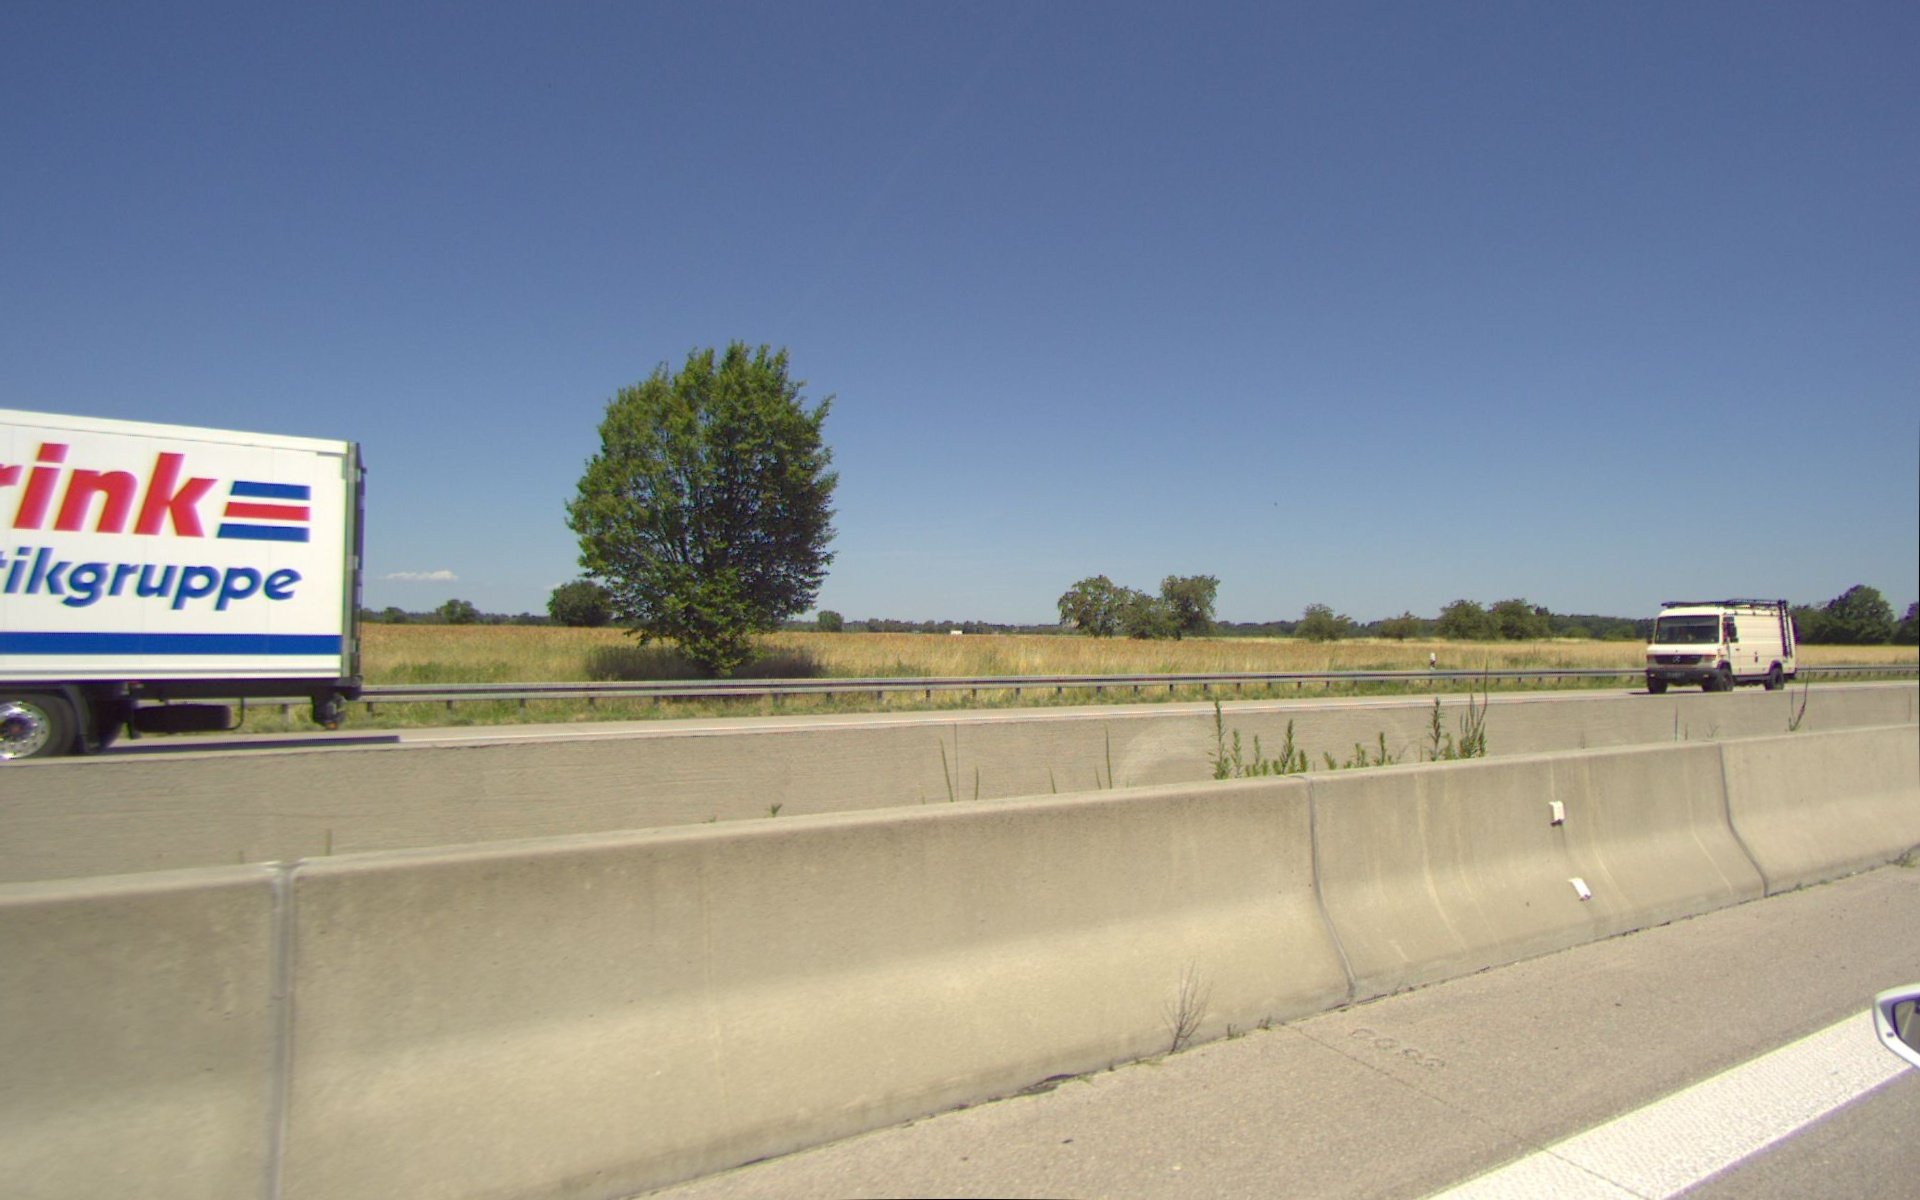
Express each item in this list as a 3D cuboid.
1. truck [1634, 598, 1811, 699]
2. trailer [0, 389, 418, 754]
[{"bbox_3d":[25.993,1.606,34.175,6.896,3.125,2.311,2,0,-30],"label":"truck"},{"bbox_3d":[-13.043,-0.370,11.031,12.364,3.961,2.894,2,0,-31],"label":"trailer"}]
